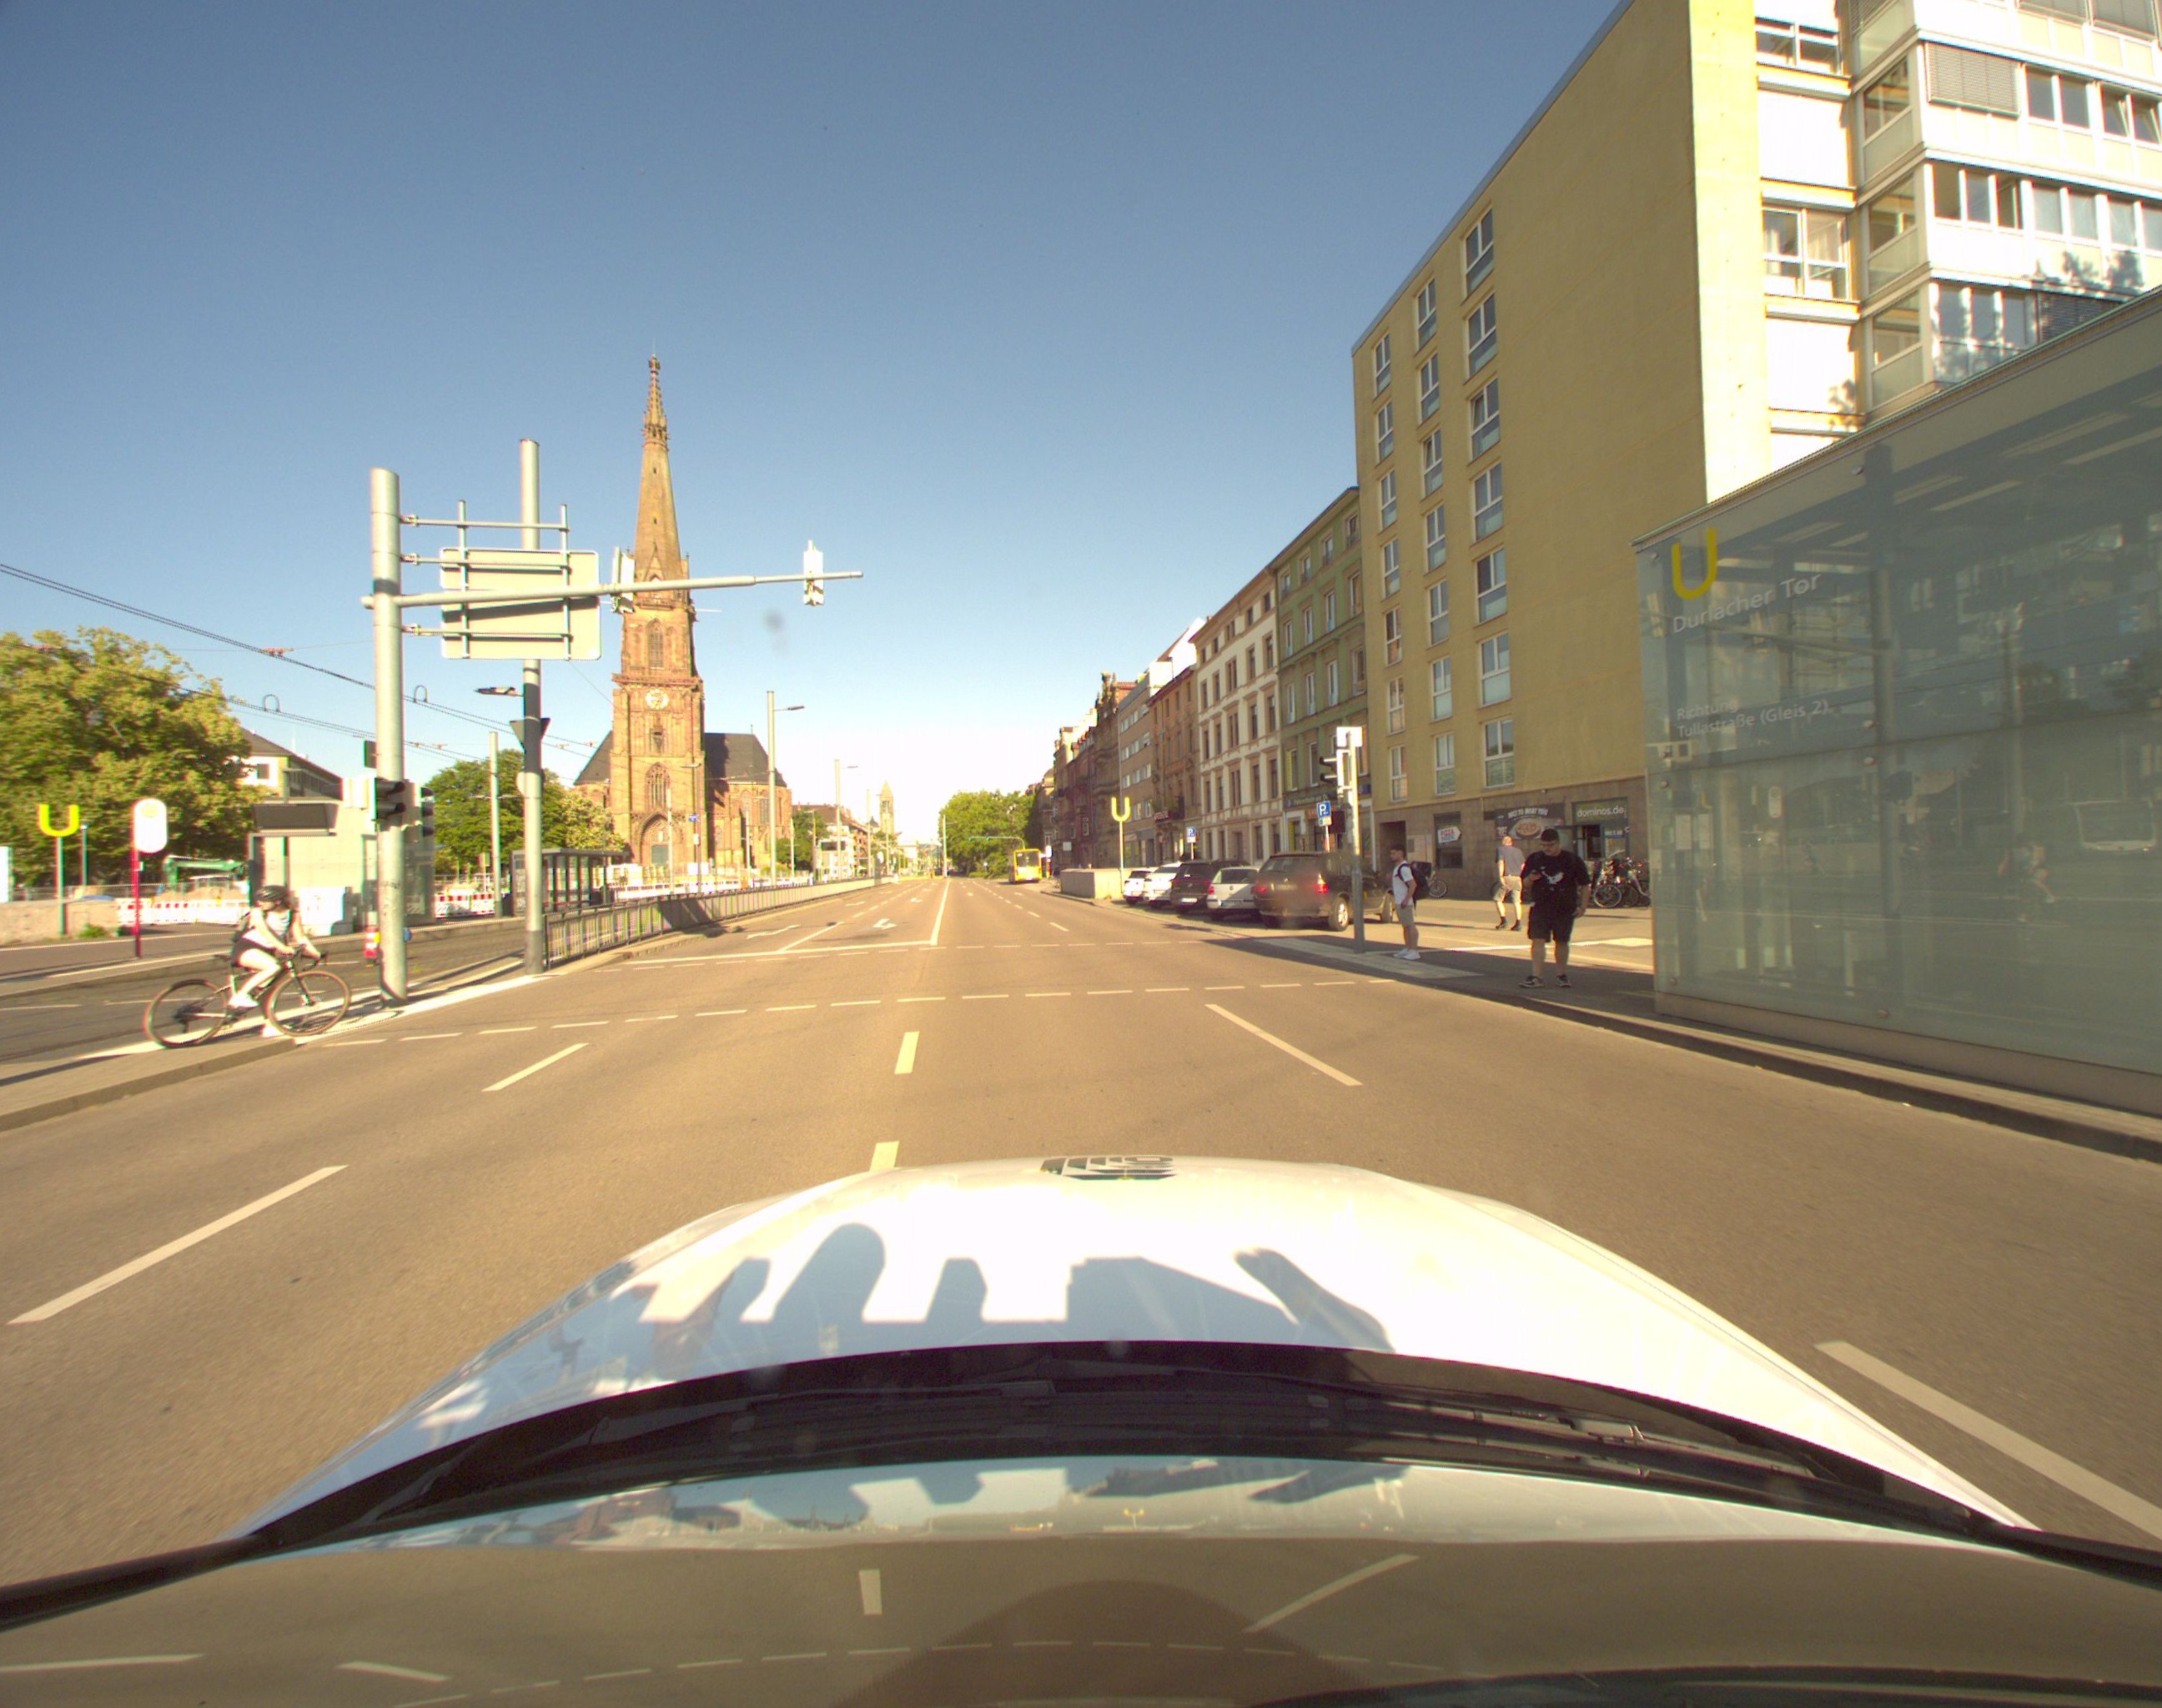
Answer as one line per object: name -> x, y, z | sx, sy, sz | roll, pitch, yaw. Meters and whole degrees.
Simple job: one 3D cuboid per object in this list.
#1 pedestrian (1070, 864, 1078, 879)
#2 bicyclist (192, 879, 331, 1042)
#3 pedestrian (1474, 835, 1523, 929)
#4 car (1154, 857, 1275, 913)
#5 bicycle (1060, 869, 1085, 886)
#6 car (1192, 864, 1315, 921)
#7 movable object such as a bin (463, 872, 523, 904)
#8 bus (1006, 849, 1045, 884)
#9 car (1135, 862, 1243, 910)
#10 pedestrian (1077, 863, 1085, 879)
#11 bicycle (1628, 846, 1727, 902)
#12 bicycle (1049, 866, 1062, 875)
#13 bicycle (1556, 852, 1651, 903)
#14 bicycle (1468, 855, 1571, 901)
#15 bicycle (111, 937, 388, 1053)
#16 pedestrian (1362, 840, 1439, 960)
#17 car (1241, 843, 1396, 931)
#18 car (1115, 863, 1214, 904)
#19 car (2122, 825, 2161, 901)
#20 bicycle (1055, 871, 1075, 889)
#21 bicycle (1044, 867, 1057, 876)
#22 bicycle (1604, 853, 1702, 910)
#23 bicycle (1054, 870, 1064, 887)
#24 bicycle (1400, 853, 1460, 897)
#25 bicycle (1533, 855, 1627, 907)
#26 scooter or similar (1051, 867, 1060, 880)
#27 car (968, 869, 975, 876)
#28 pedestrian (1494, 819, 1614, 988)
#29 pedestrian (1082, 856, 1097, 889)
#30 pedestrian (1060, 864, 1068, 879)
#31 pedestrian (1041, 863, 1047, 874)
pedestrian -> -0.952, 2.255, 105.048 | 0.822, 1.930, 1.133 | -2, -1, -10
bicyclist -> -8.755, 1.092, 8.738 | 0.675, 1.616, 0.811 | -3, -1, -14
pedestrian -> 8.520, 0.555, 16.604 | 0.689, 1.866, 0.758 | -3, -1, 39
car -> 4.232, 0.910, 25.333 | 1.935, 1.598, 4.278 | -1, -1, 37
bicycle -> -0.602, 1.680, 57.984 | 1.765, 1.187, 0.468 | -1, 0, -10
car -> 4.737, 0.989, 21.973 | 1.765, 1.399, 3.917 | -1, -2, 37
movable object such as a bin -> -34.600, 1.956, 48.016 | 1.173, 1.586, 3.852 | -3, 2, -10
bus -> -5.836, 1.266, 82.835 | 2.715, 3.181, 12.500 | -3, -1, -9
car -> 3.892, 1.079, 28.854 | 1.935, 1.570, 4.278 | -1, -1, 37
pedestrian -> -0.027, 2.190, 105.206 | 0.822, 1.930, 1.133 | -2, -1, -10
bicycle -> 14.181, 0.479, 19.423 | 0.658, 1.248, 1.892 | -3, -1, -12
bicycle -> -3.845, 2.529, 124.461 | 1.891, 1.239, 0.487 | -3, -2, -22
bicycle -> 13.766, 0.621, 21.552 | 0.658, 1.248, 2.289 | -3, -1, -11
bicycle -> 12.939, 0.687, 24.188 | 0.985, 1.264, 3.050 | -2, -1, -10
bicycle -> -8.789, 1.466, 8.711 | 1.892, 0.942, 0.811 | -3, -1, -15
pedestrian -> 4.808, 0.673, 12.282 | 0.699, 1.728, 0.747 | -1, -1, -26
car -> 5.634, 0.702, 18.987 | 1.935, 1.814, 4.278 | -1, -1, 39
car -> 3.395, 1.155, 32.473 | 1.936, 1.464, 4.139 | -3, -1, 39
car -> 23.004, 0.198, 15.094 | 1.852, 1.482, 4.211 | -3, 2, -12
bicycle -> -1.081, 1.699, 54.068 | 0.472, 1.147, 1.753 | -1, 0, -32
bicycle -> -4.789, 2.767, 127.089 | 1.891, 1.239, 0.487 | -3, -2, -22
bicycle -> 13.420, 0.631, 19.194 | 0.658, 1.248, 1.892 | -3, -1, -12
bicycle -> -1.553, 1.717, 56.722 | 0.468, 1.147, 1.765 | -1, 0, -9
bicycle -> 11.962, 0.691, 28.023 | 0.928, 1.357, 2.225 | -3, 2, -6
bicycle -> 12.986, 0.695, 21.291 | 0.658, 1.248, 2.289 | -3, -1, -11
scooter or similar -> -2.719, 2.080, 86.773 | 0.432, 1.249, 1.286 | -3, -2, -19
car -> -25.127, 4.308, 186.702 | 1.643, 1.511, 4.170 | -3, 0, -9
pedestrian -> 5.168, 0.512, 8.909 | 0.799, 1.728, 0.859 | -1, -1, -41
pedestrian -> 0.521, 1.179, 51.258 | 0.750, 2.013, 0.696 | -3, 2, -9
pedestrian -> -2.150, 2.274, 105.768 | 0.822, 1.930, 1.133 | -2, -1, -10
pedestrian -> -5.480, 2.156, 121.812 | 0.702, 1.656, 1.133 | -2, -1, -9
